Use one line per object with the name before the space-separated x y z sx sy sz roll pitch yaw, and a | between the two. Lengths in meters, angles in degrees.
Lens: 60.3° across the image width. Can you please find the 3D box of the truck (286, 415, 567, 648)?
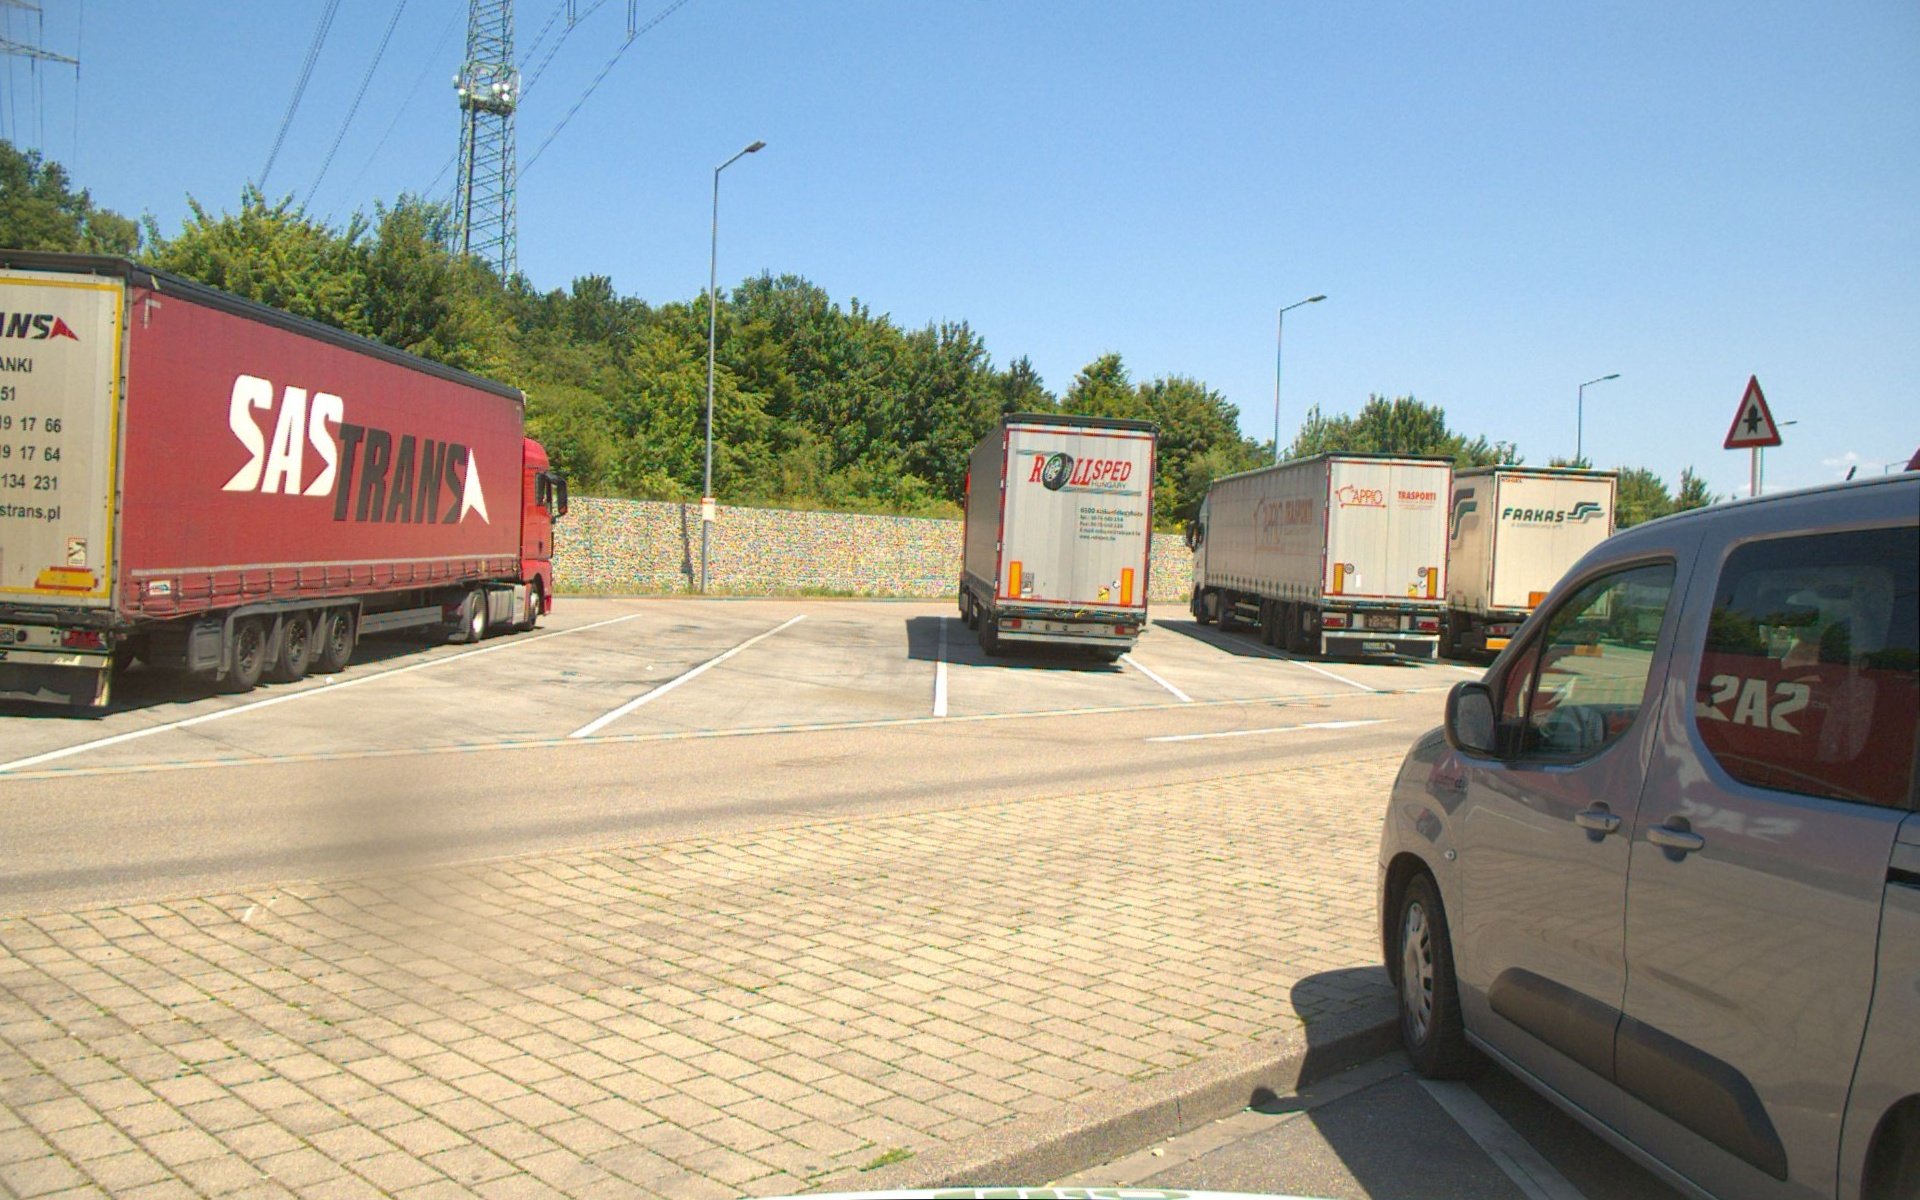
truck | -8.790 -1.152 28.009 2.793 3.385 5.900 3 2 -1

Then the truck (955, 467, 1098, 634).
truck | 1.503 -1.240 40.534 3.041 3.628 5.900 3 2 -1

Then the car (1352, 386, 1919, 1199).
car | 2.438 0.601 3.858 1.832 1.896 4.174 3 1 -2

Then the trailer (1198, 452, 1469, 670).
trailer | 8.172 -1.030 38.852 2.754 4.058 14.395 3 2 -1

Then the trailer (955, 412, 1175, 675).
trailer | 1.659 -1.194 33.644 3.070 4.058 14.393 3 2 -1

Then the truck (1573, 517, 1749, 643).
truck | 21.768 -0.695 51.736 2.746 3.582 5.900 3 2 -1

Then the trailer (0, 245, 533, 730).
trailer | -8.726 -1.292 21.438 2.735 4.155 14.131 3 2 -1

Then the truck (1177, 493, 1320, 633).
truck | 8.056 -1.093 46.952 2.804 3.582 5.900 3 2 -1

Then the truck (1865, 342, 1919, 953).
truck | 5.000 0.198 4.981 1.937 2.668 5.307 1 0 4

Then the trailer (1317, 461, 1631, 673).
trailer | 11.735 -0.935 39.957 2.754 4.058 14.395 3 2 -1

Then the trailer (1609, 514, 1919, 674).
trailer | 21.845 -0.391 44.506 2.754 3.568 14.395 3 2 -1

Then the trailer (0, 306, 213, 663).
trailer | -12.553 -1.338 17.716 2.739 4.155 14.131 3 2 -1
